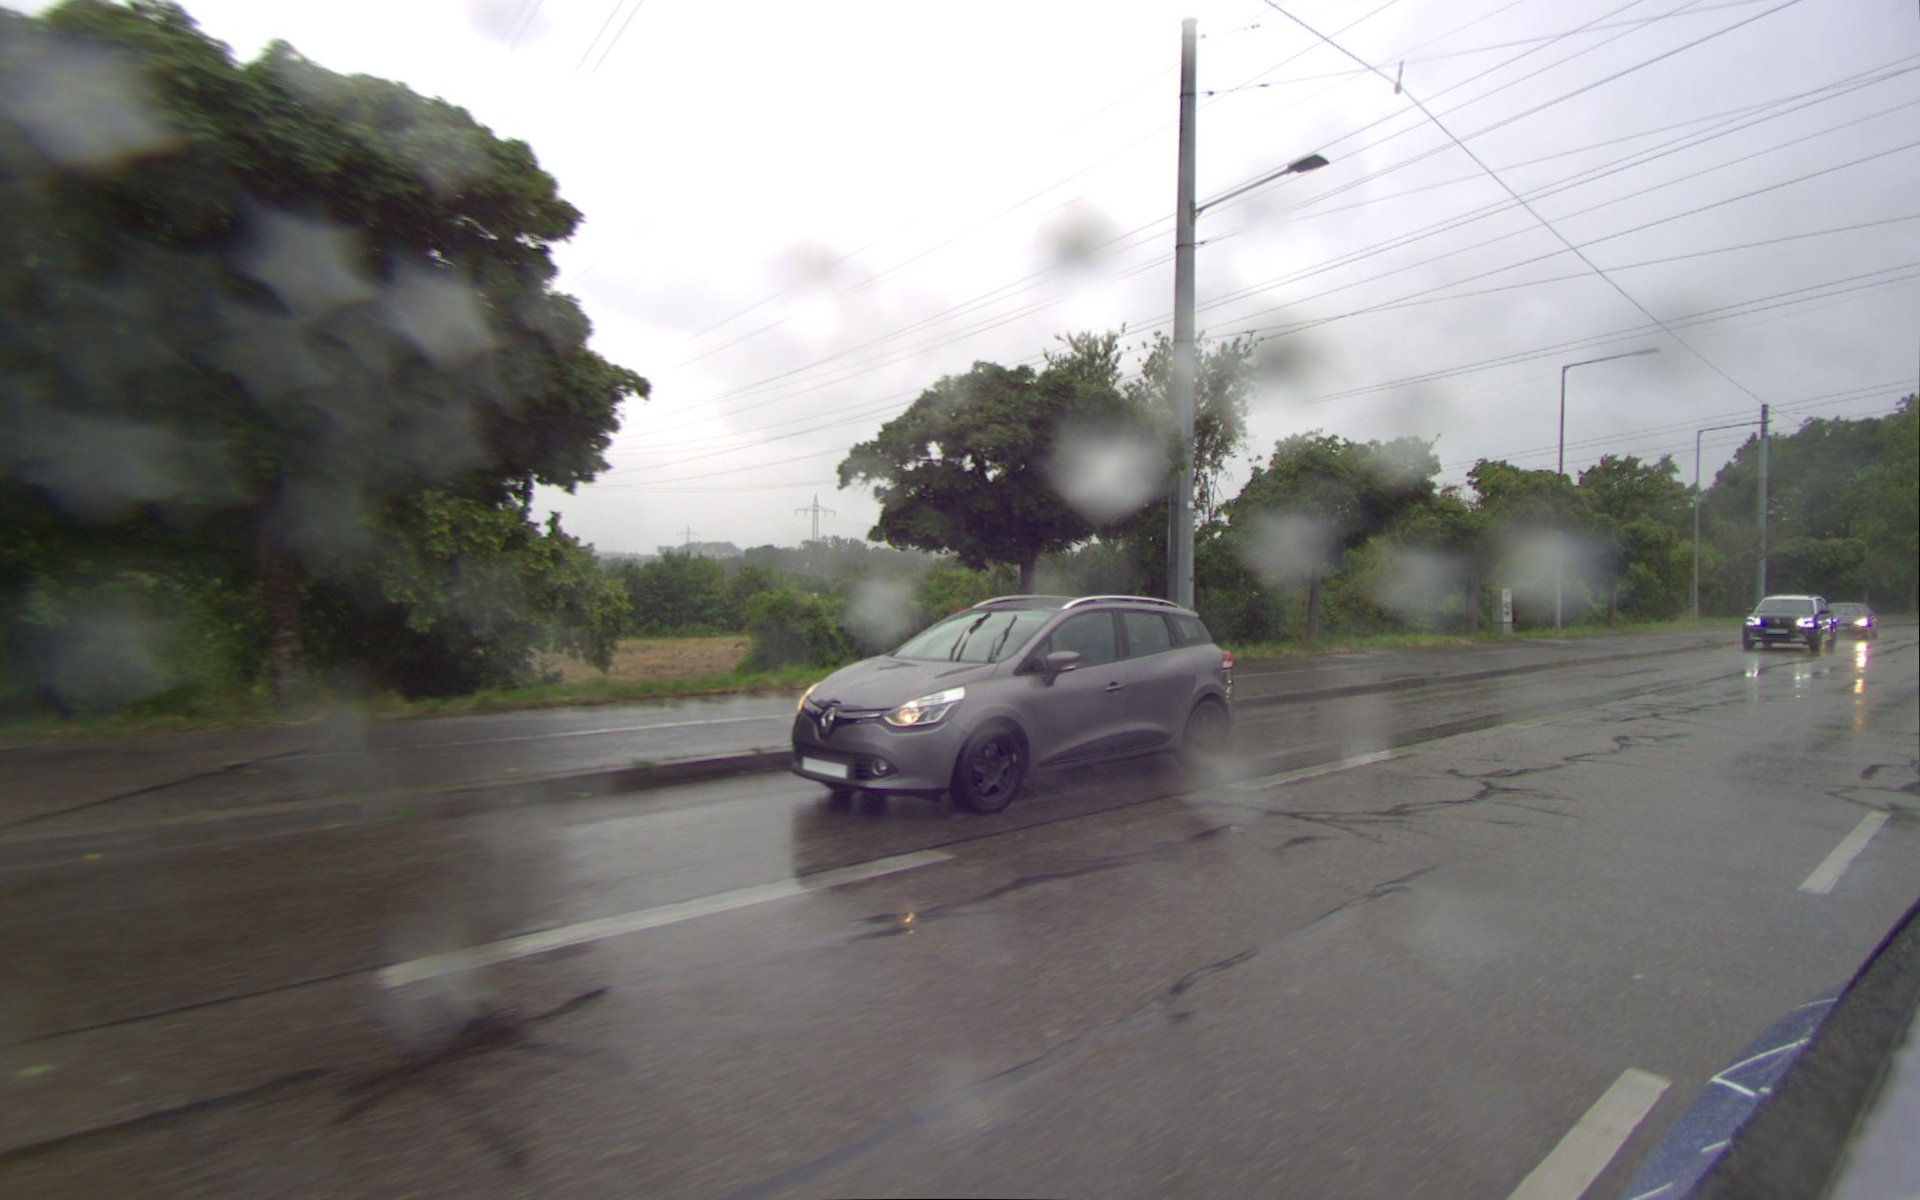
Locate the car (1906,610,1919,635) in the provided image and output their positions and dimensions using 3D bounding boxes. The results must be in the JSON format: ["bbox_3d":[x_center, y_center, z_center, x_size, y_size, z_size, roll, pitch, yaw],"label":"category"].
[{"bbox_3d":[58.338,1.370,60.793,3.929,1.445,1.783,1,0,-40],"label":"car"}]

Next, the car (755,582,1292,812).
[{"bbox_3d":[0.684,0.602,8.152,4.201,1.374,1.891,1,-1,-41],"label":"car"}]

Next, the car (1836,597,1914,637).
[{"bbox_3d":[35.887,0.660,39.676,3.929,1.445,1.783,1,0,-40],"label":"car"}]

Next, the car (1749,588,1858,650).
[{"bbox_3d":[25.605,0.558,30.674,4.679,1.724,1.796,1,-1,-41],"label":"car"}]
